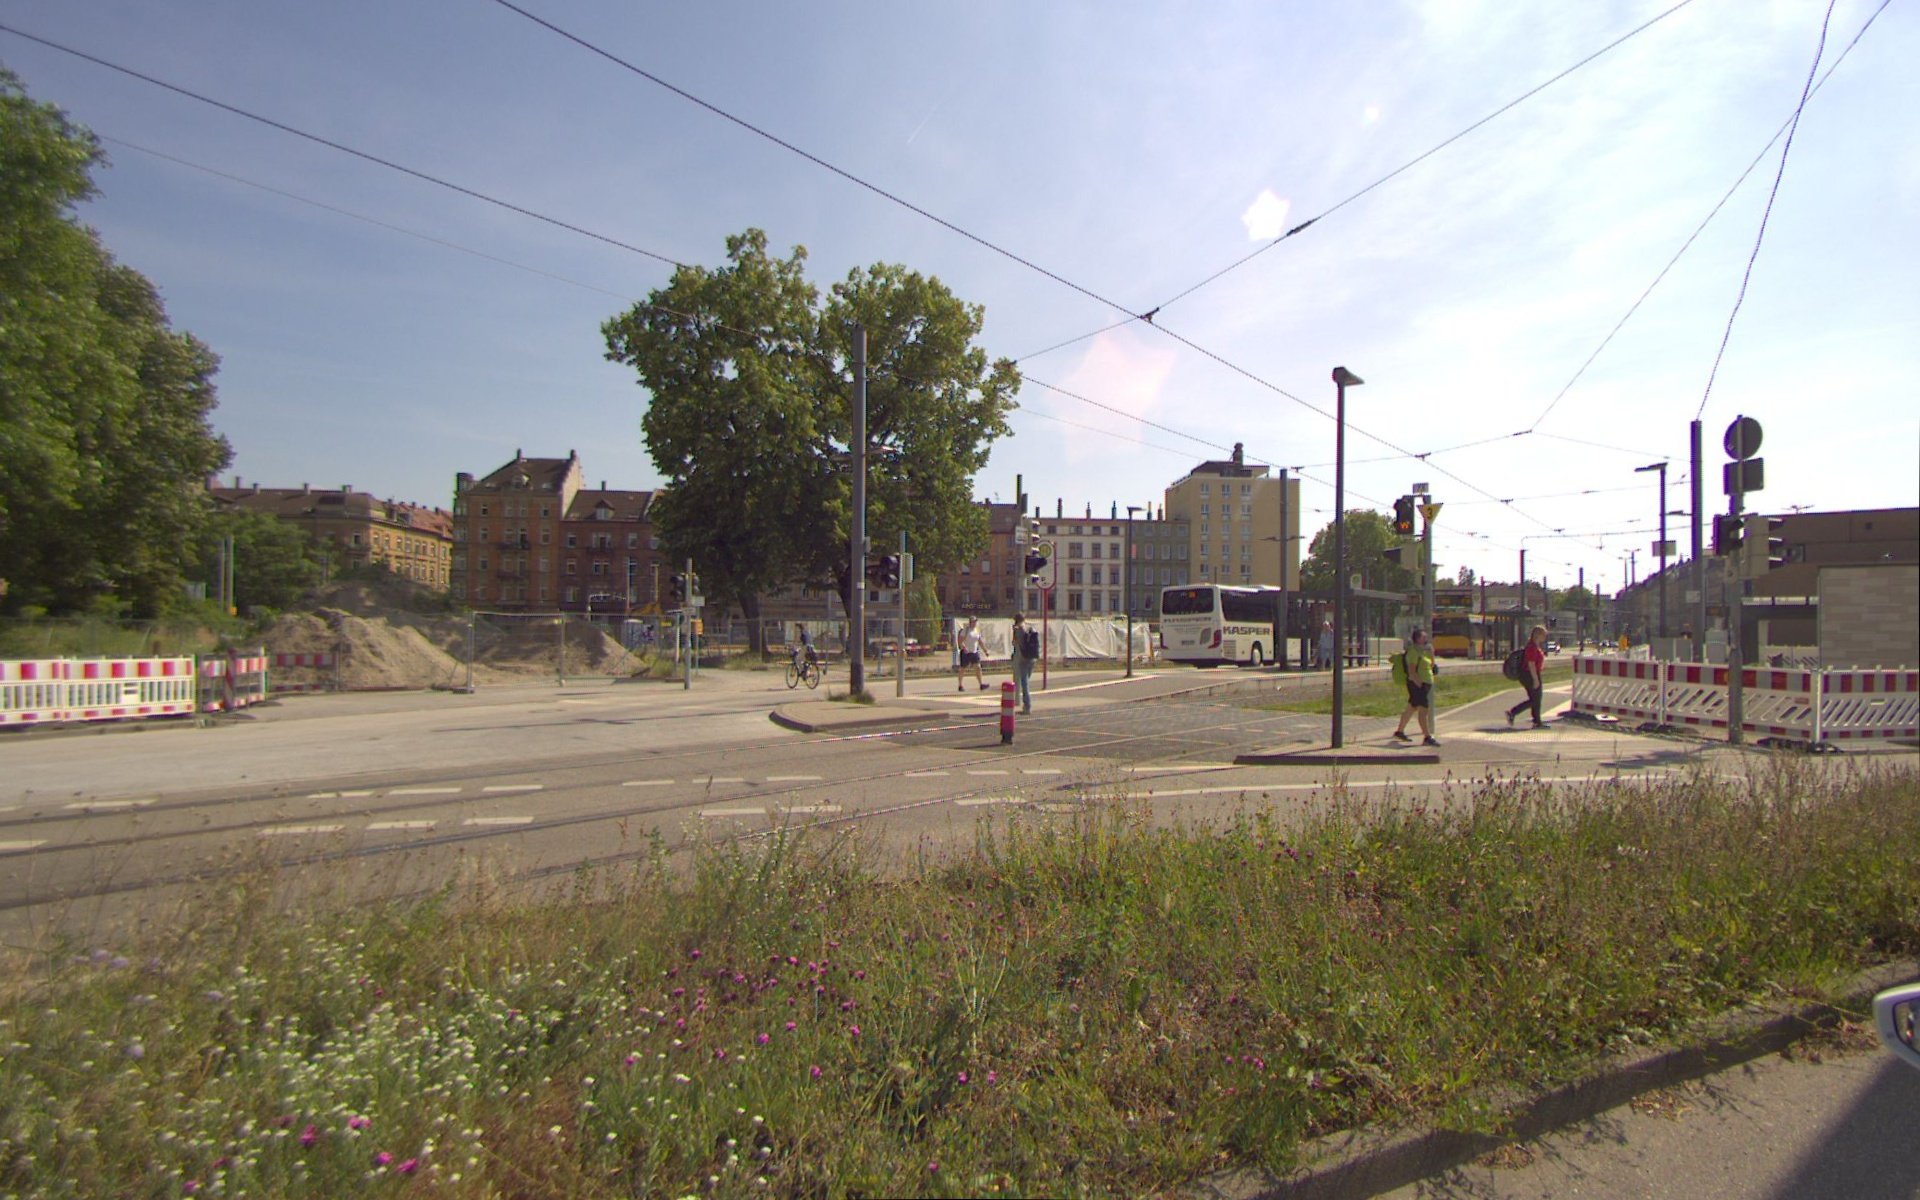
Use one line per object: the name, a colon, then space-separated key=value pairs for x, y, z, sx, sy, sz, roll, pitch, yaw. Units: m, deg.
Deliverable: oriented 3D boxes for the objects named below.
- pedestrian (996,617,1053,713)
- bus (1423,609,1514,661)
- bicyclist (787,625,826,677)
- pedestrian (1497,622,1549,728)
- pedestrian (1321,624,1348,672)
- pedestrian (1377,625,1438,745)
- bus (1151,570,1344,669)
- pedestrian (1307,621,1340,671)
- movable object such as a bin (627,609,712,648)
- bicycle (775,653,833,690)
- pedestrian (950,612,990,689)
pedestrian: x=1.201 y=1.184 z=18.599 sx=0.929 sy=1.735 sz=0.551 roll=1 pitch=-1 yaw=-41
bus: x=35.504 y=2.466 z=69.776 sx=2.820 sy=3.324 sz=12.598 roll=-1 pitch=-3 yaw=40
bicyclist: x=-4.218 y=1.392 z=27.534 sx=0.613 sy=1.378 sz=1.162 roll=1 pitch=-2 yaw=-35
pedestrian: x=8.862 y=1.163 z=15.817 sx=0.673 sy=1.637 sz=0.350 roll=-1 pitch=-2 yaw=26
pedestrian: x=12.977 y=1.644 z=34.828 sx=0.581 sy=1.637 sz=0.681 roll=1 pitch=-1 yaw=-40
pedestrian: x=6.118 y=1.136 z=13.734 sx=0.657 sy=1.564 sz=0.422 roll=2 pitch=2 yaw=36
bus: x=12.343 y=0.915 z=41.835 sx=2.820 sy=3.535 sz=12.598 roll=-2 pitch=-3 yaw=40
pedestrian: x=12.189 y=1.532 z=33.705 sx=0.655 sy=1.637 sz=0.786 roll=0 pitch=-1 yaw=-35
movable object such as a bin: x=-23.351 y=2.324 z=80.764 sx=6.453 sy=3.049 sz=2.572 roll=1 pitch=-2 yaw=-20
bicycle: x=-4.284 y=1.940 z=27.499 sx=0.755 sy=0.935 sz=2.050 roll=1 pitch=-2 yaw=-35
pedestrian: x=0.233 y=1.224 z=24.457 sx=0.828 sy=1.836 sz=0.647 roll=0 pitch=-1 yaw=-16
